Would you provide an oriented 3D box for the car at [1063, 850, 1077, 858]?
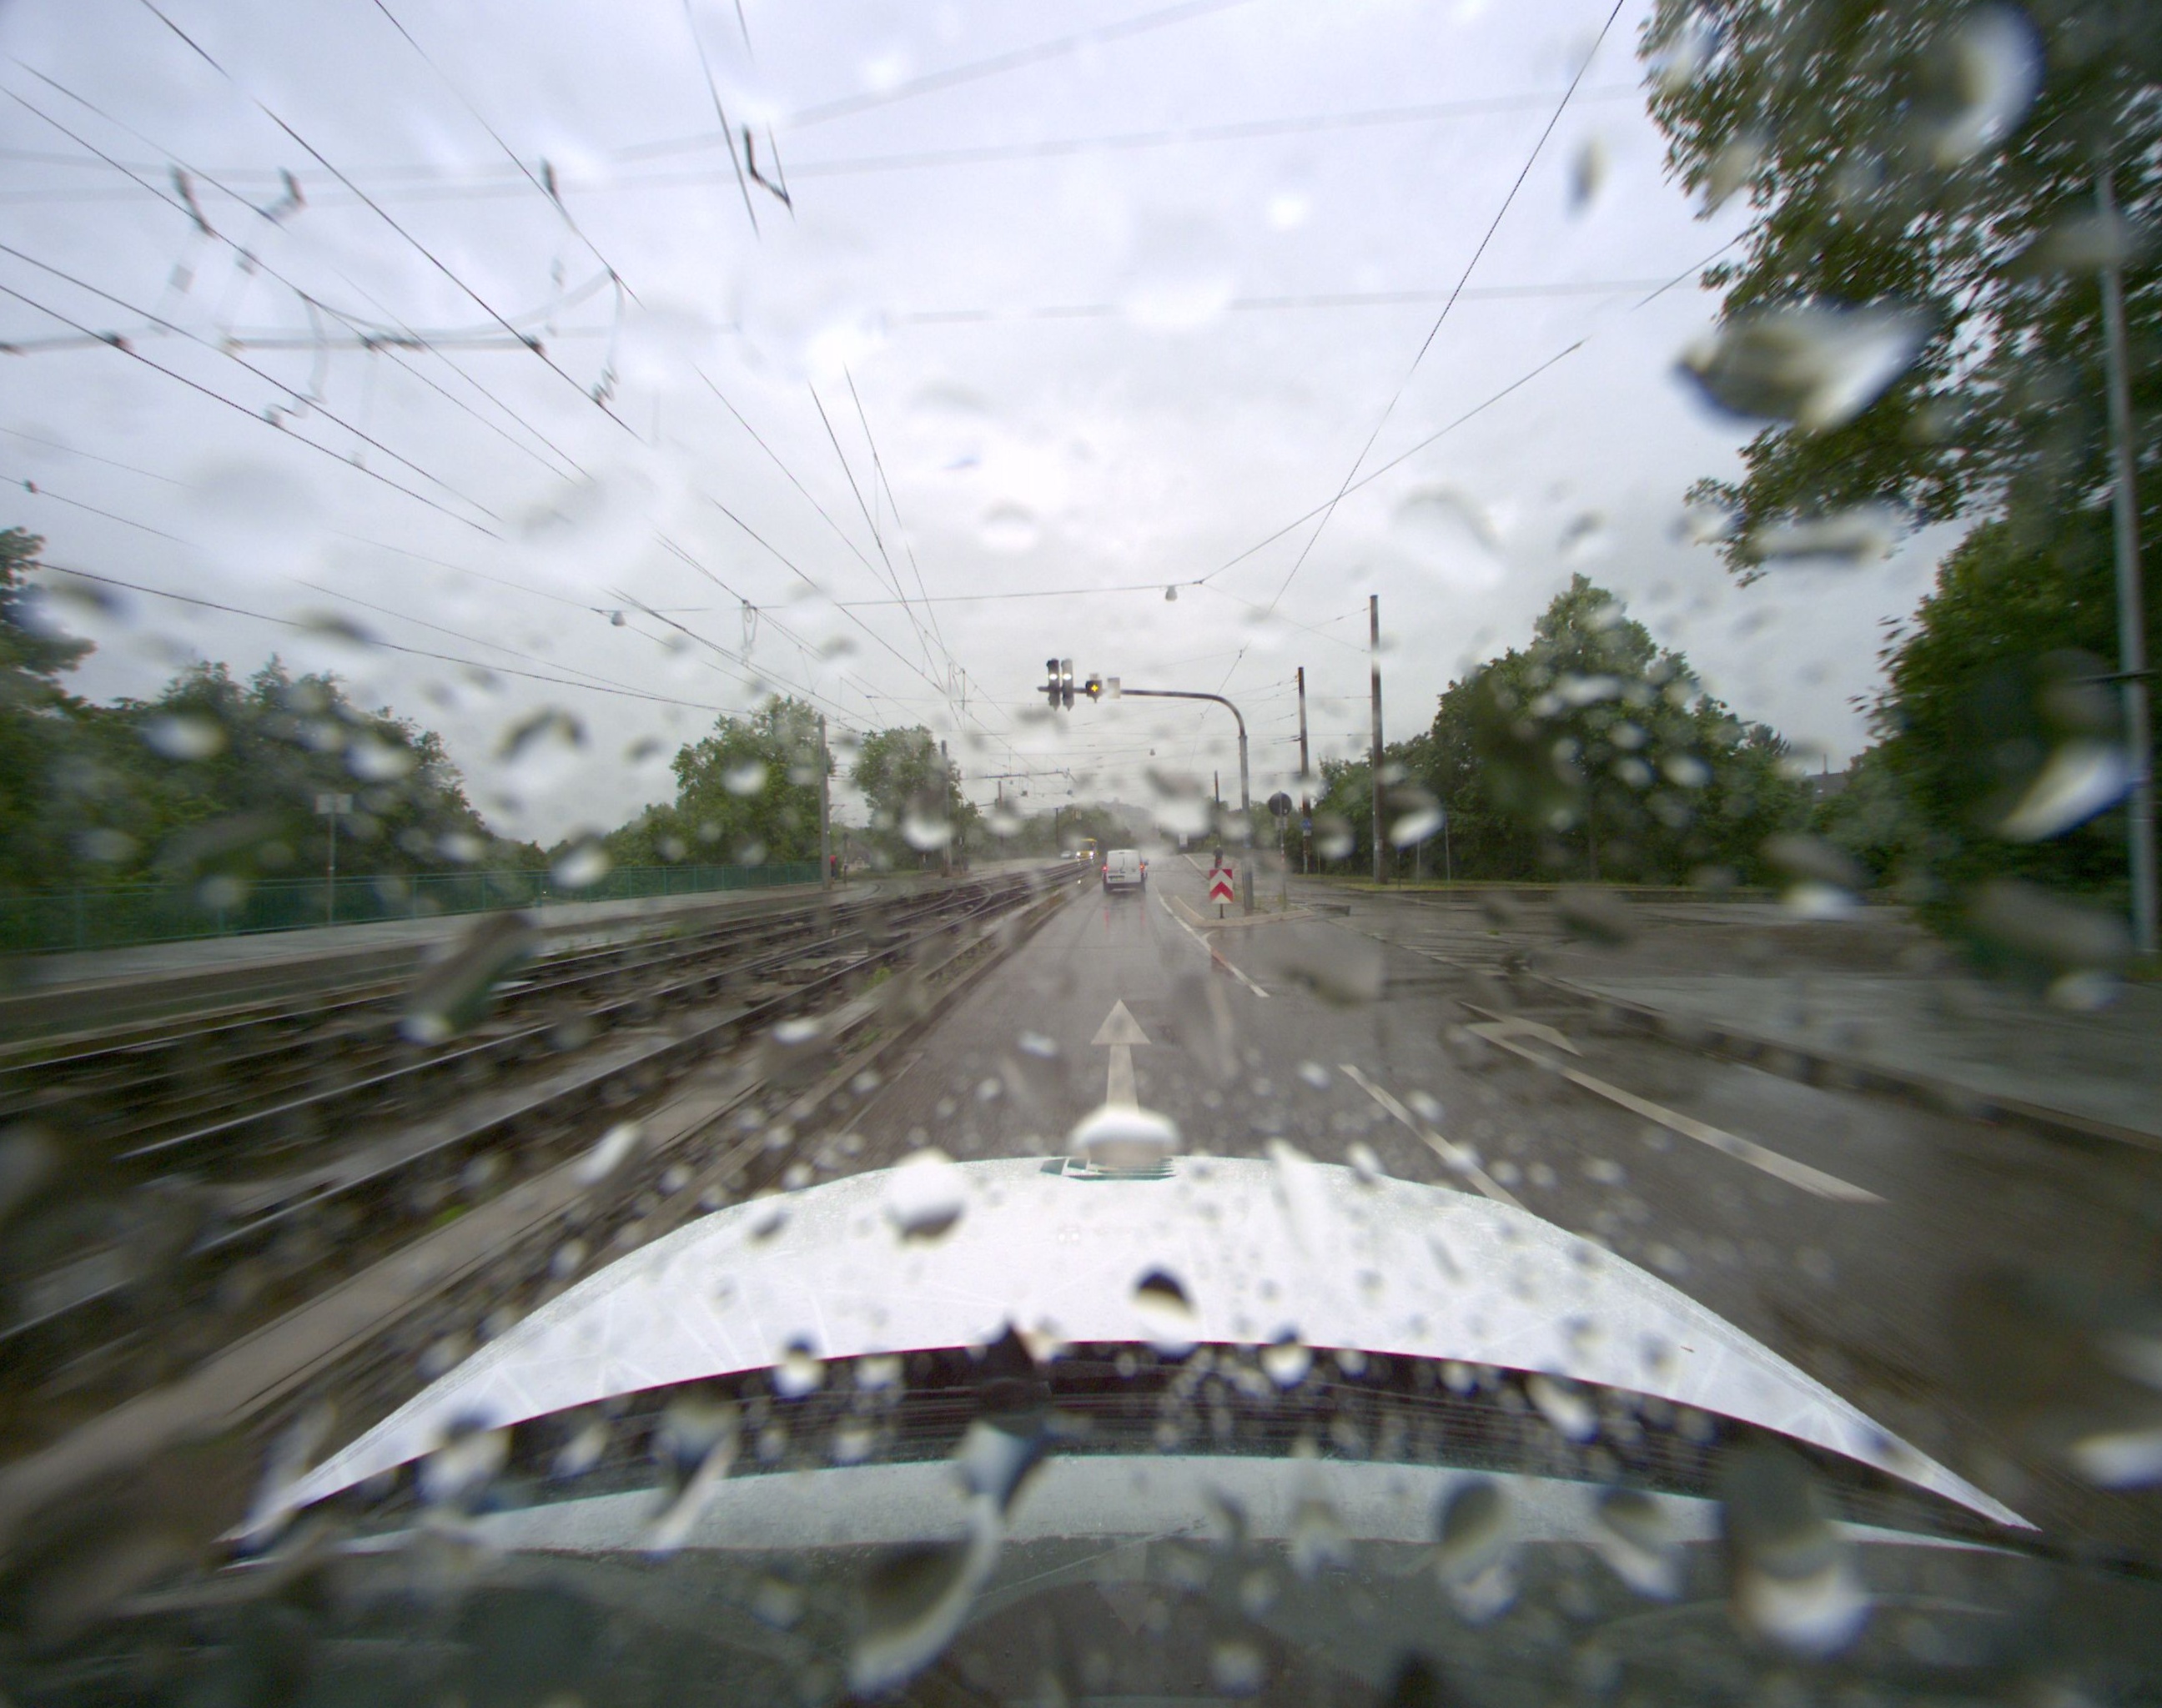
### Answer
[{"bbox_3d":[-1.891,-0.013,138.579,1.925,1.231,4.107,-4,1,6],"label":"car"}]

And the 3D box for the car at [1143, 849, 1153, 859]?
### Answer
[{"bbox_3d":[10.550,-0.039,128.044,1.445,1.499,2.983,0,-1,2],"label":"car"}]

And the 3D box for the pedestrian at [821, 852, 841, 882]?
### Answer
[{"bbox_3d":[-15.817,0.822,51.567,0.860,1.819,1.044,0,-1,4],"label":"pedestrian"}]

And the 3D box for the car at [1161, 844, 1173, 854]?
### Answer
[{"bbox_3d":[12.388,-0.708,117.616,1.445,1.499,2.983,0,-1,2],"label":"car"}]

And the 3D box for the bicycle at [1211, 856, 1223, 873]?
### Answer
[{"bbox_3d":[9.536,0.725,57.042,0.719,1.129,2.171,0,0,6],"label":"bicycle"}]

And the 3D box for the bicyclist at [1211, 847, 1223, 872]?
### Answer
[{"bbox_3d":[9.521,0.369,57.032,0.722,1.764,0.951,0,-1,6],"label":"bicyclist"}]

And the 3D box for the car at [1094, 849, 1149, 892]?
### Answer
[{"bbox_3d":[1.781,0.705,34.768,1.982,1.726,4.009,0,-1,8],"label":"car"}]

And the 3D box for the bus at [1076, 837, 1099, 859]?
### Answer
[{"bbox_3d":[1.102,-1.144,137.738,2.695,3.340,11.012,-4,1,6],"label":"bus"}]
